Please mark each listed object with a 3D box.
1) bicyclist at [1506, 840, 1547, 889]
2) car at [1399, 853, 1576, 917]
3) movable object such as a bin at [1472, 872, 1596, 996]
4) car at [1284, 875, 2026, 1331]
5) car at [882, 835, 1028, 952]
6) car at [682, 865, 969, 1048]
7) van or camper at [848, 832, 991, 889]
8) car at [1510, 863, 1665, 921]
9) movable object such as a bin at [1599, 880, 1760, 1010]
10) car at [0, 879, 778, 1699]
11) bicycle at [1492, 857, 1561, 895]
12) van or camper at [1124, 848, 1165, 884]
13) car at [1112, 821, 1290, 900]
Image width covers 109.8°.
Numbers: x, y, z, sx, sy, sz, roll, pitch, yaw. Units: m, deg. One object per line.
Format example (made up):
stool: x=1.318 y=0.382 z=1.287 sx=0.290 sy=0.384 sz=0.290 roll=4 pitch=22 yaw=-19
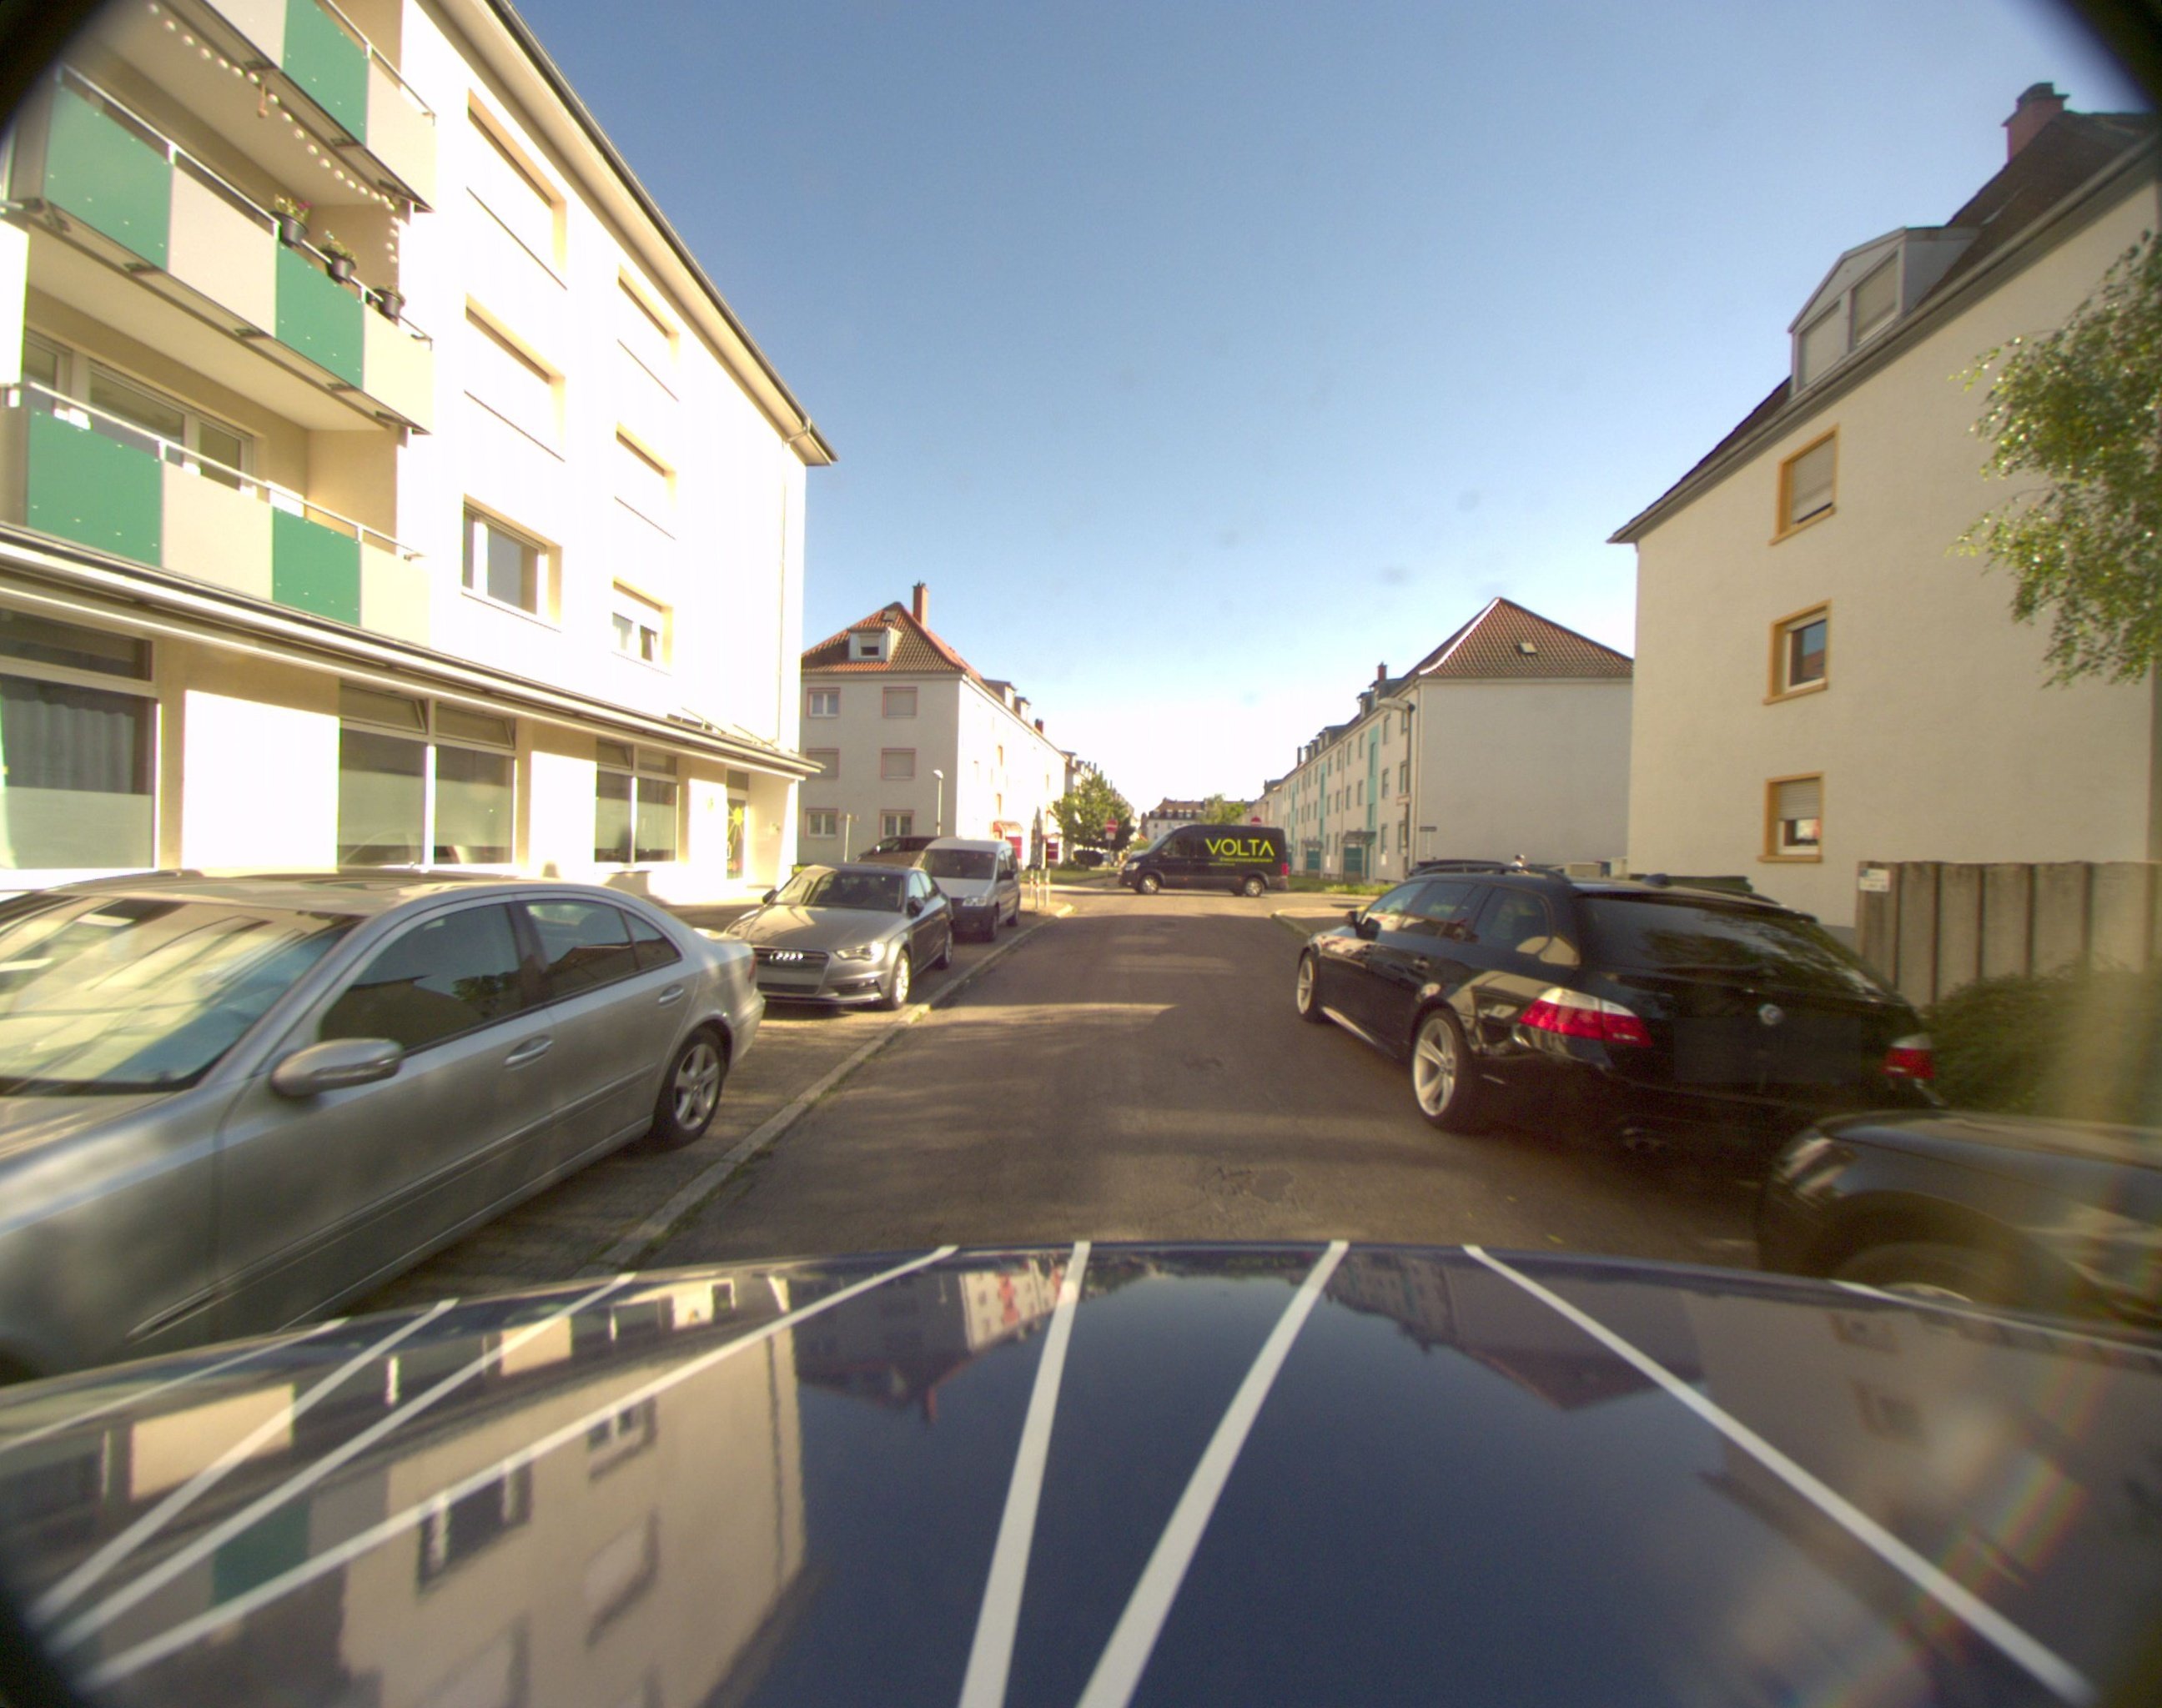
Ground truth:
bicyclist: x=14.844 y=0.339 z=25.319 sx=0.906 sy=1.570 sz=0.598 roll=4 pitch=1 yaw=2
car: x=12.619 y=0.927 z=23.846 sx=4.496 sy=1.654 sz=1.720 roll=3 pitch=2 yaw=8
movable object such as a bin: x=5.698 y=0.955 z=9.653 sx=0.777 sy=1.385 sz=1.418 roll=2 pitch=1 yaw=6
car: x=2.794 y=1.015 z=5.228 sx=1.682 sy=1.444 sz=4.621 roll=5 pitch=1 yaw=3
car: x=-2.198 y=0.630 z=14.428 sx=1.751 sy=1.813 sz=4.132 roll=3 pitch=1 yaw=4
car: x=-2.556 y=0.924 z=8.855 sx=1.682 sy=1.399 sz=4.545 roll=3 pitch=0 yaw=1
van or camper: x=-6.326 y=0.278 z=30.115 sx=5.134 sy=2.001 sz=2.001 roll=2 pitch=-1 yaw=5
car: x=17.552 y=1.279 z=26.505 sx=3.994 sy=1.685 sz=1.867 roll=4 pitch=1 yaw=8
movable object such as a bin: x=6.892 y=1.016 z=8.821 sx=1.222 sy=1.372 sz=0.768 roll=1 pitch=1 yaw=11
car: x=-2.899 y=0.910 z=2.574 sx=1.682 sy=1.439 sz=4.724 roll=0 pitch=1 yaw=2
bicycle: x=14.817 y=0.717 z=25.313 sx=1.814 sy=1.109 sz=0.629 roll=4 pitch=2 yaw=2
van or camper: x=3.359 y=0.590 z=39.538 sx=1.795 sy=1.737 sz=4.738 roll=1 pitch=0 yaw=8
car: x=4.196 y=0.226 z=27.161 sx=5.958 sy=2.530 sz=1.999 roll=2 pitch=0 yaw=-3
